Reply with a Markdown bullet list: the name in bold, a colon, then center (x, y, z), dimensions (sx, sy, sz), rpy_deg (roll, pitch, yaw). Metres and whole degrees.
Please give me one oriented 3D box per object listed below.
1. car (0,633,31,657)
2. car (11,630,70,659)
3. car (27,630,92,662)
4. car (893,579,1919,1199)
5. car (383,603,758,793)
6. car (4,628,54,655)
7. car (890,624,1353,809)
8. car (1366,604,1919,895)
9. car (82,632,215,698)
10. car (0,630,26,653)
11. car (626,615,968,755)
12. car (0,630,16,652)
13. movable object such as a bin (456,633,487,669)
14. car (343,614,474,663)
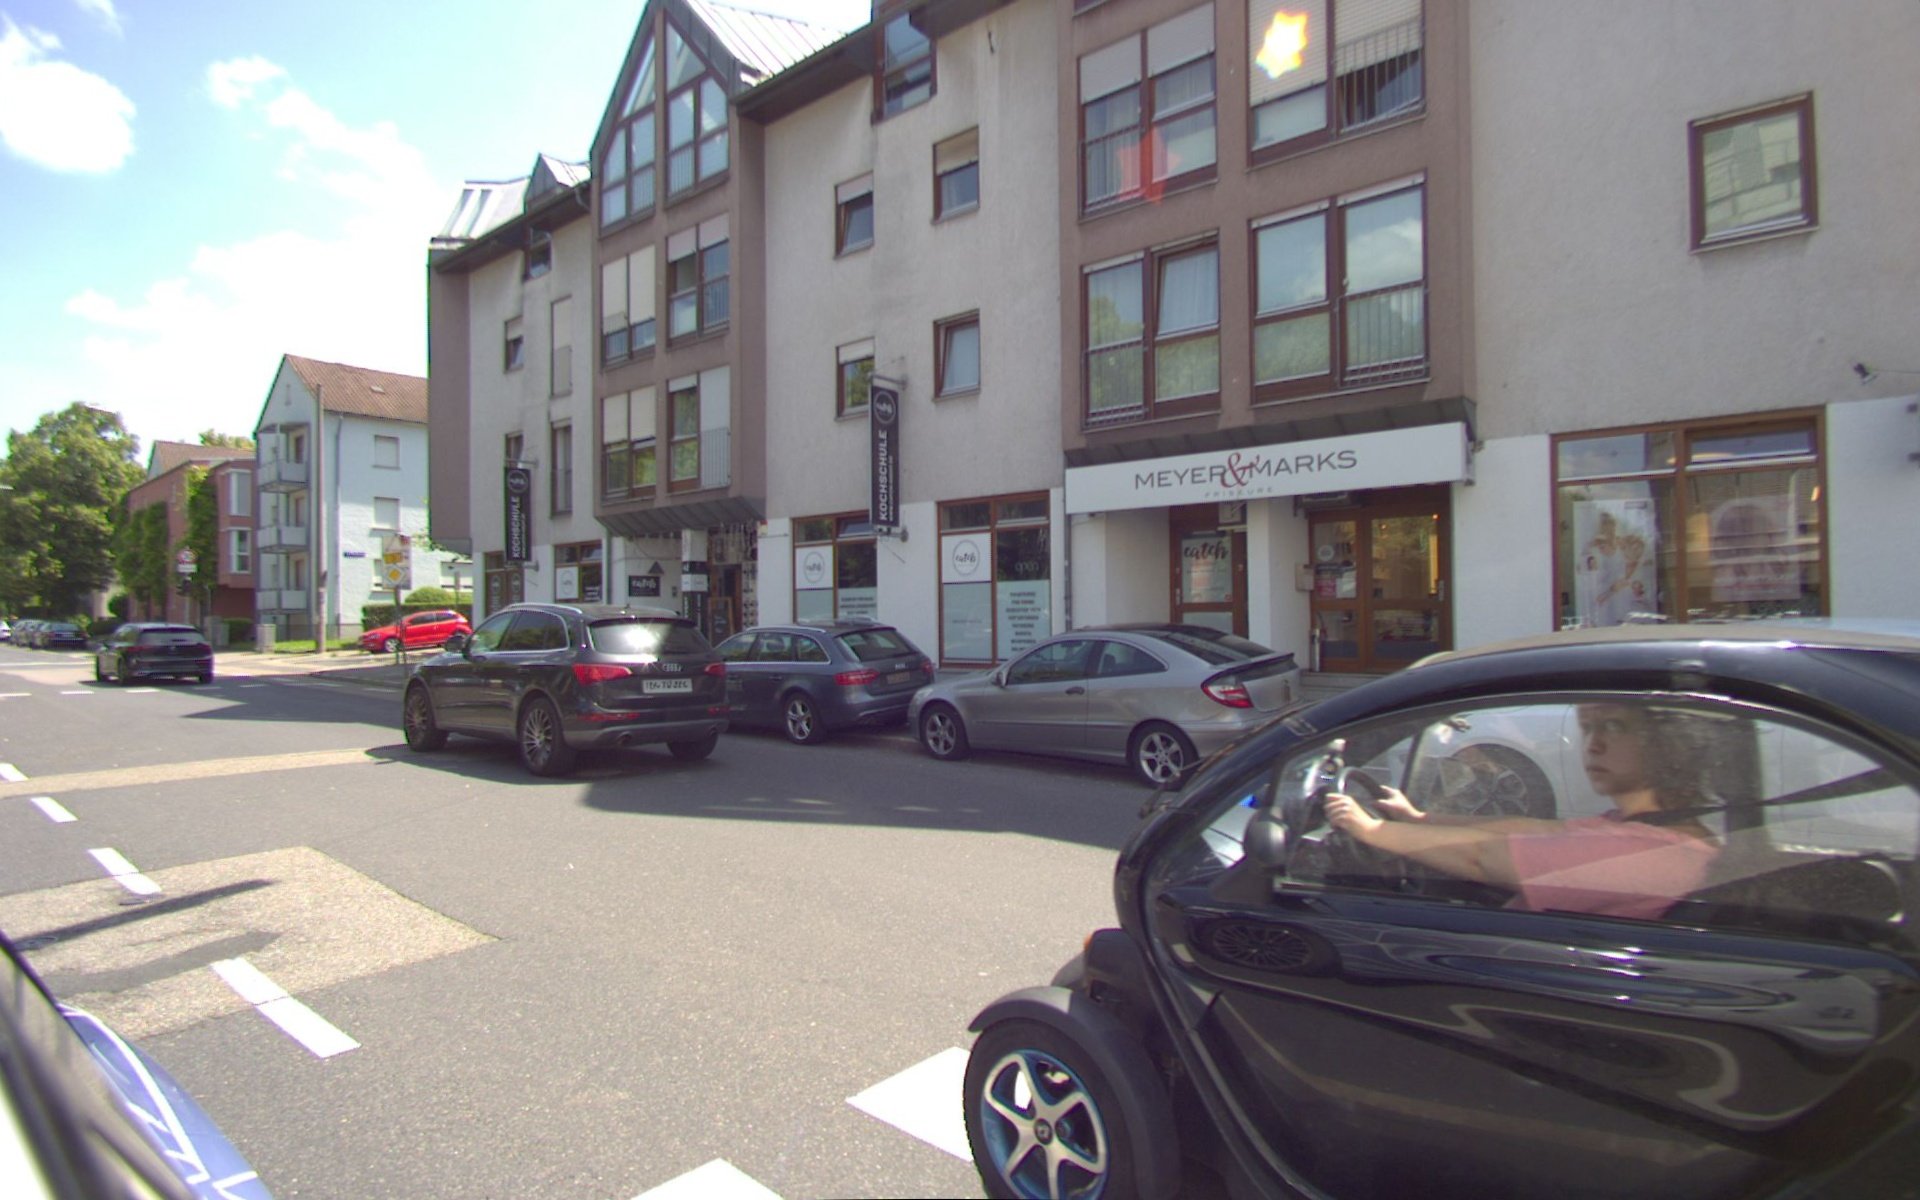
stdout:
- **car**: center (-61.332, 2.885, 65.195), dimensions (3.997, 1.453, 1.730), rpy_deg (-1, -1, 40)
- **car**: center (-51.317, 2.459, 56.451), dimensions (4.564, 1.551, 1.867), rpy_deg (-1, -2, 40)
- **car**: center (-46.707, 2.343, 52.451), dimensions (4.564, 1.551, 1.867), rpy_deg (-1, -2, 40)
- **car**: center (1.374, 0.724, 2.058), dimensions (2.718, 1.470, 1.483), rpy_deg (-1, -2, 37)
- **car**: center (-4.307, 0.905, 10.859), dimensions (4.437, 1.633, 1.794), rpy_deg (-1, -3, 40)
- **car**: center (-55.806, 2.452, 60.641), dimensions (3.997, 1.519, 1.730), rpy_deg (-1, -1, 40)
- **car**: center (1.460, 0.983, 10.259), dimensions (4.326, 1.394, 1.820), rpy_deg (-1, 1, 42)
- **car**: center (5.210, 0.821, 6.606), dimensions (4.384, 1.500, 1.821), rpy_deg (-1, 1, 41)
- **car**: center (-19.501, 1.491, 24.271), dimensions (4.220, 1.430, 1.724), rpy_deg (-1, -2, 41)
- **car**: center (-65.930, 2.876, 69.840), dimensions (3.997, 1.519, 1.730), rpy_deg (-1, -1, 40)
- **car**: center (-2.347, 0.986, 13.516), dimensions (4.969, 1.458, 1.820), rpy_deg (-1, 1, 43)
- **car**: center (-69.744, 2.948, 73.324), dimensions (3.997, 1.519, 1.552), rpy_deg (-1, -1, 40)
- **movable object such as a bin**: center (-15.397, 1.591, 31.900), dimensions (0.624, 1.105, 0.673), rpy_deg (0, -2, 1)
- **car**: center (-20.861, 1.445, 38.392), dimensions (1.731, 1.462, 3.948), rpy_deg (-3, 1, 40)
